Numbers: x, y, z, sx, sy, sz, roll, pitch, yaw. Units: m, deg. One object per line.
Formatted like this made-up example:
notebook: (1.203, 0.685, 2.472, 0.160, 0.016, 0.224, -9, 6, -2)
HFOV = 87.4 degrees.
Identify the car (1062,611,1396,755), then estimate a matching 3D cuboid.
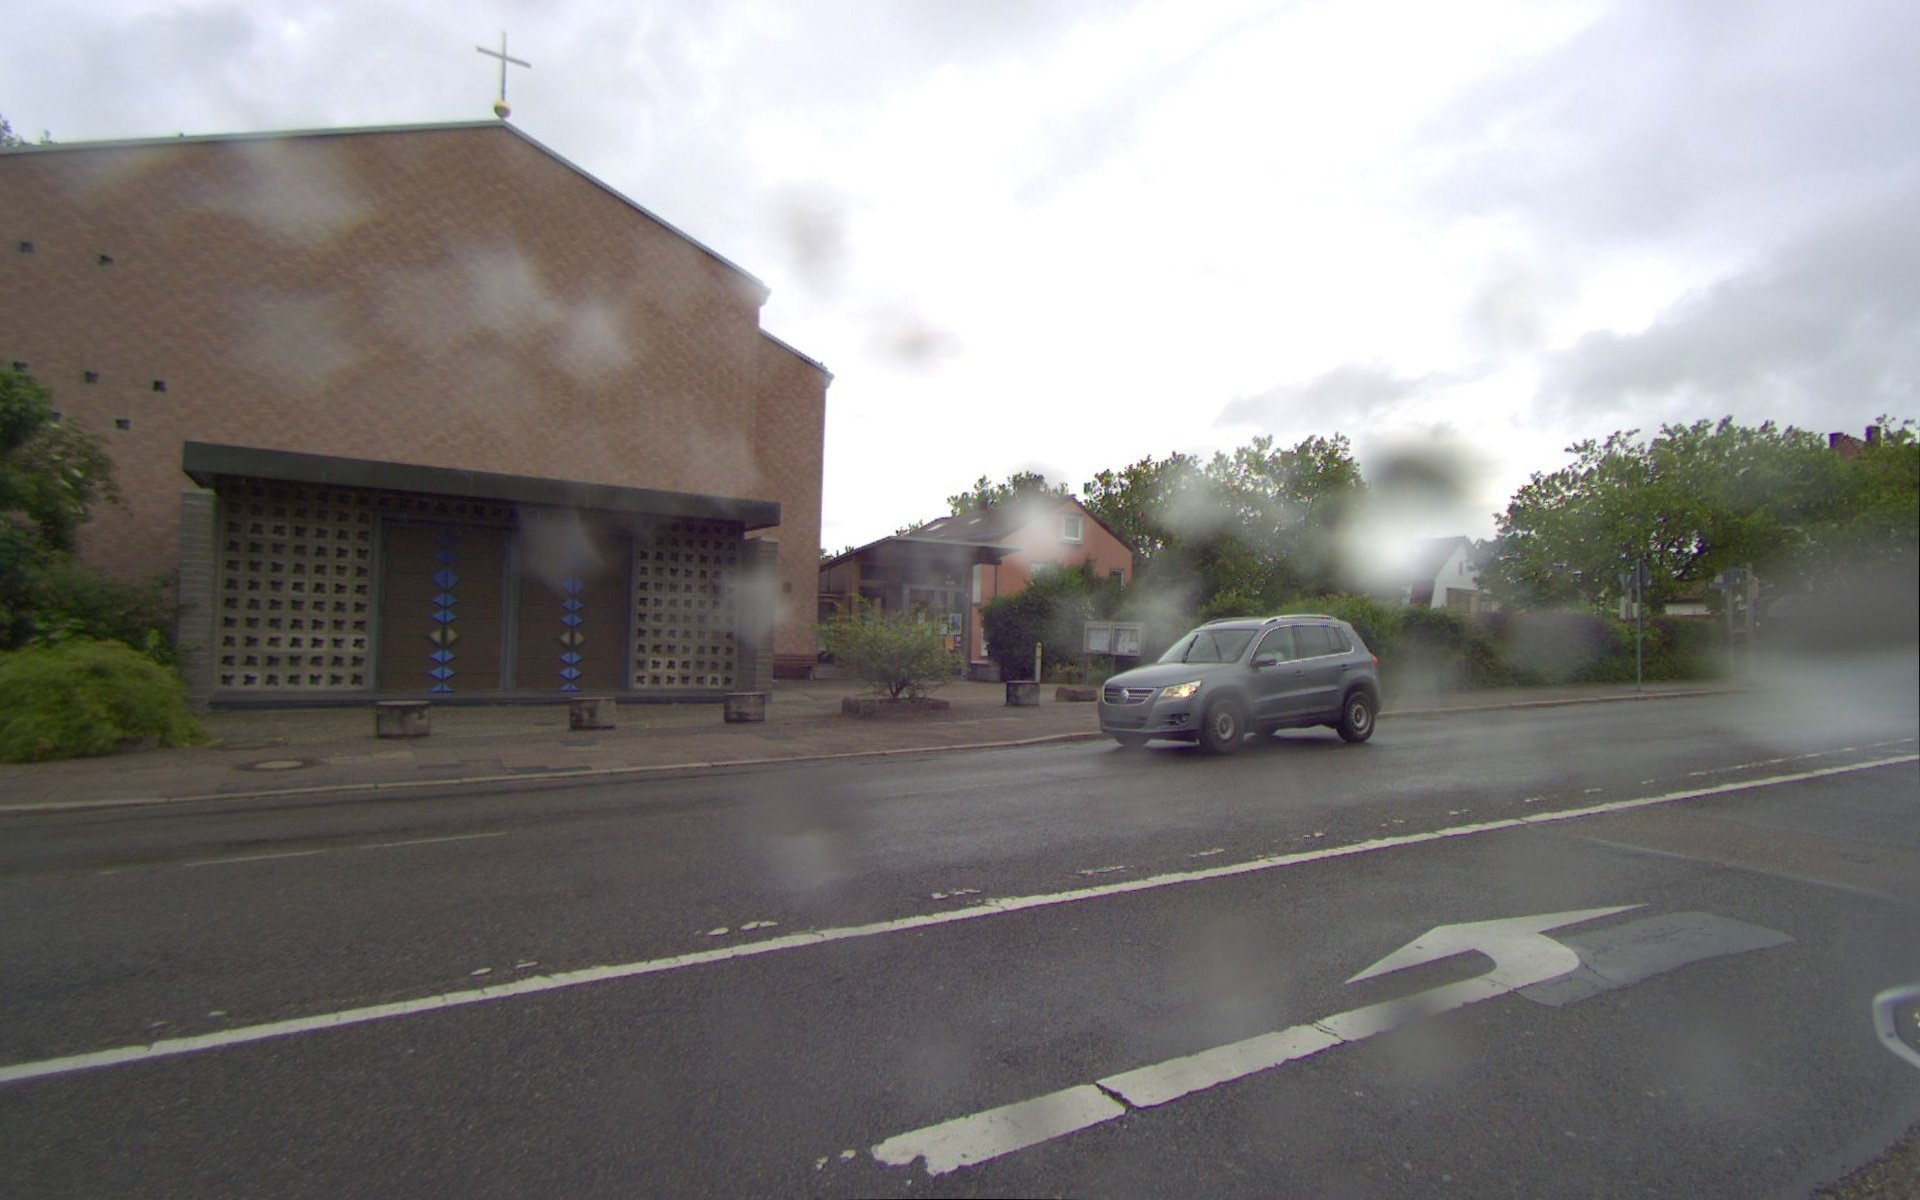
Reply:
car: (3.589, 0.999, 13.199, 4.271, 1.611, 1.897, 1, -3, -33)

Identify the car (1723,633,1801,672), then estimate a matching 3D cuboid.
car: (39.158, 2.526, 49.051, 3.955, 1.573, 1.798, -3, 2, -32)
